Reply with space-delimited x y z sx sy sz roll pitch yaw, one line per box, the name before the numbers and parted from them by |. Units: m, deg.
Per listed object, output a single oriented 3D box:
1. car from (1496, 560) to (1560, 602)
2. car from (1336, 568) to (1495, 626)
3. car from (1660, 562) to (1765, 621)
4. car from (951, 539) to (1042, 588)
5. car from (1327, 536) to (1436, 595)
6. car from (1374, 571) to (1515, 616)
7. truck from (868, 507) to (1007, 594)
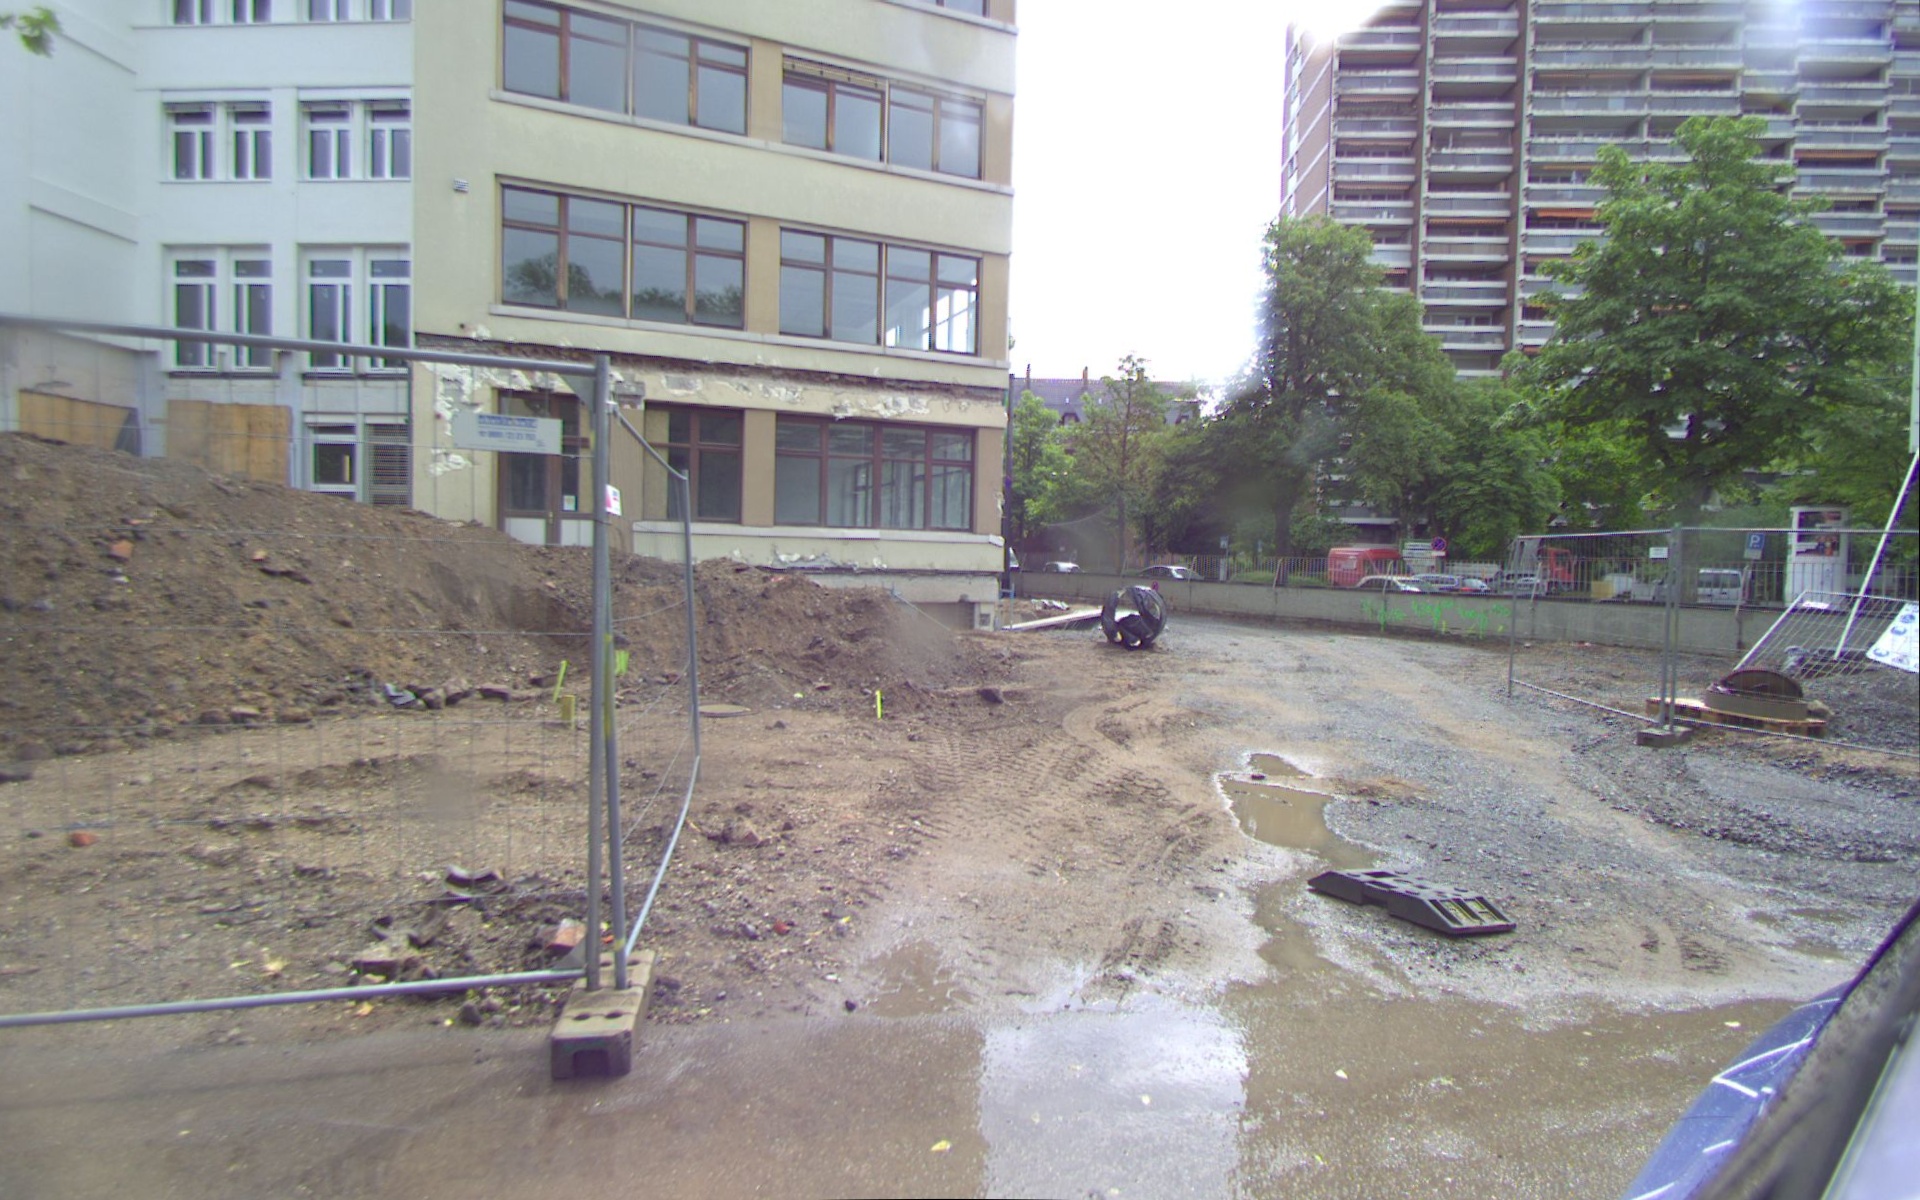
car | 24.251 -0.842 43.347 1.764 1.584 4.021 2 4 21
car | 13.142 -0.127 29.450 1.850 1.489 4.009 2 1 -22
car | 26.848 -0.364 36.298 1.917 1.919 4.609 3 3 23
car | 1.968 -2.071 57.066 2.543 2.505 6.165 2 1 -25
car | 20.593 -1.733 49.787 2.255 2.665 5.495 2 2 -9
car | 18.785 -0.308 39.513 1.958 1.499 4.774 2 2 -24
truck | -1.354 -2.254 47.998 3.174 3.571 9.933 2 1 -22
